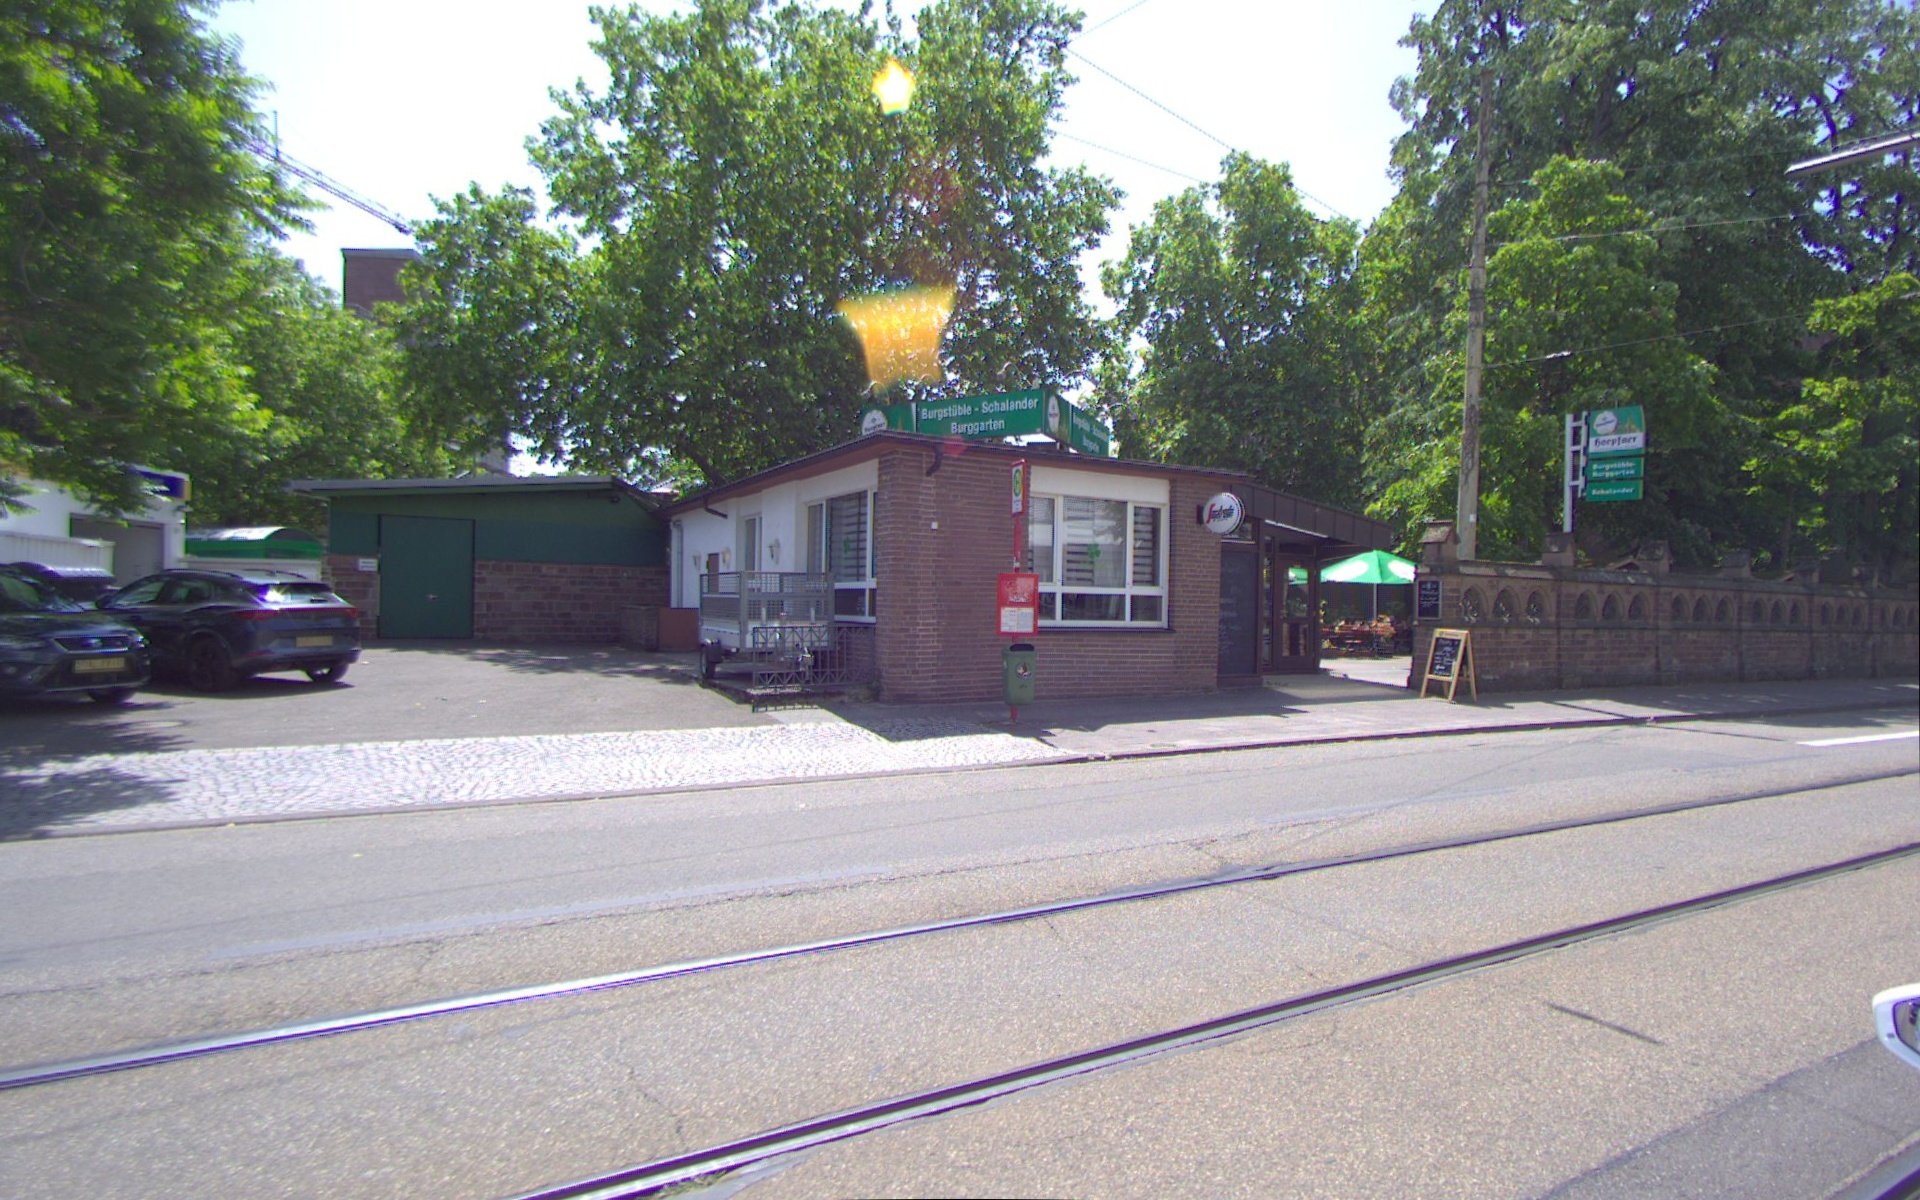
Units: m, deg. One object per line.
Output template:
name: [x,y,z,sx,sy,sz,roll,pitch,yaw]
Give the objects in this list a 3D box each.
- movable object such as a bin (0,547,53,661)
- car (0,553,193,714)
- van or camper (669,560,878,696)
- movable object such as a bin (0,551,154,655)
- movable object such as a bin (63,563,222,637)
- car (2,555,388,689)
movable object such as a bin: [-13.847,0.022,13.408,2.060,1.530,1.524,2,2,-5]
car: [-11.100,0.233,10.936,4.361,1.508,1.936,2,2,11]
van or camper: [-2.795,0.276,14.339,1.848,1.651,3.767,0,2,-29]
movable object such as a bin: [-13.807,0.010,15.140,2.060,1.451,1.524,2,2,-5]
movable object such as a bin: [-13.776,-0.018,16.997,1.534,1.153,1.407,2,2,-5]
car: [-10.353,0.224,13.676,4.361,1.508,1.936,2,2,15]
